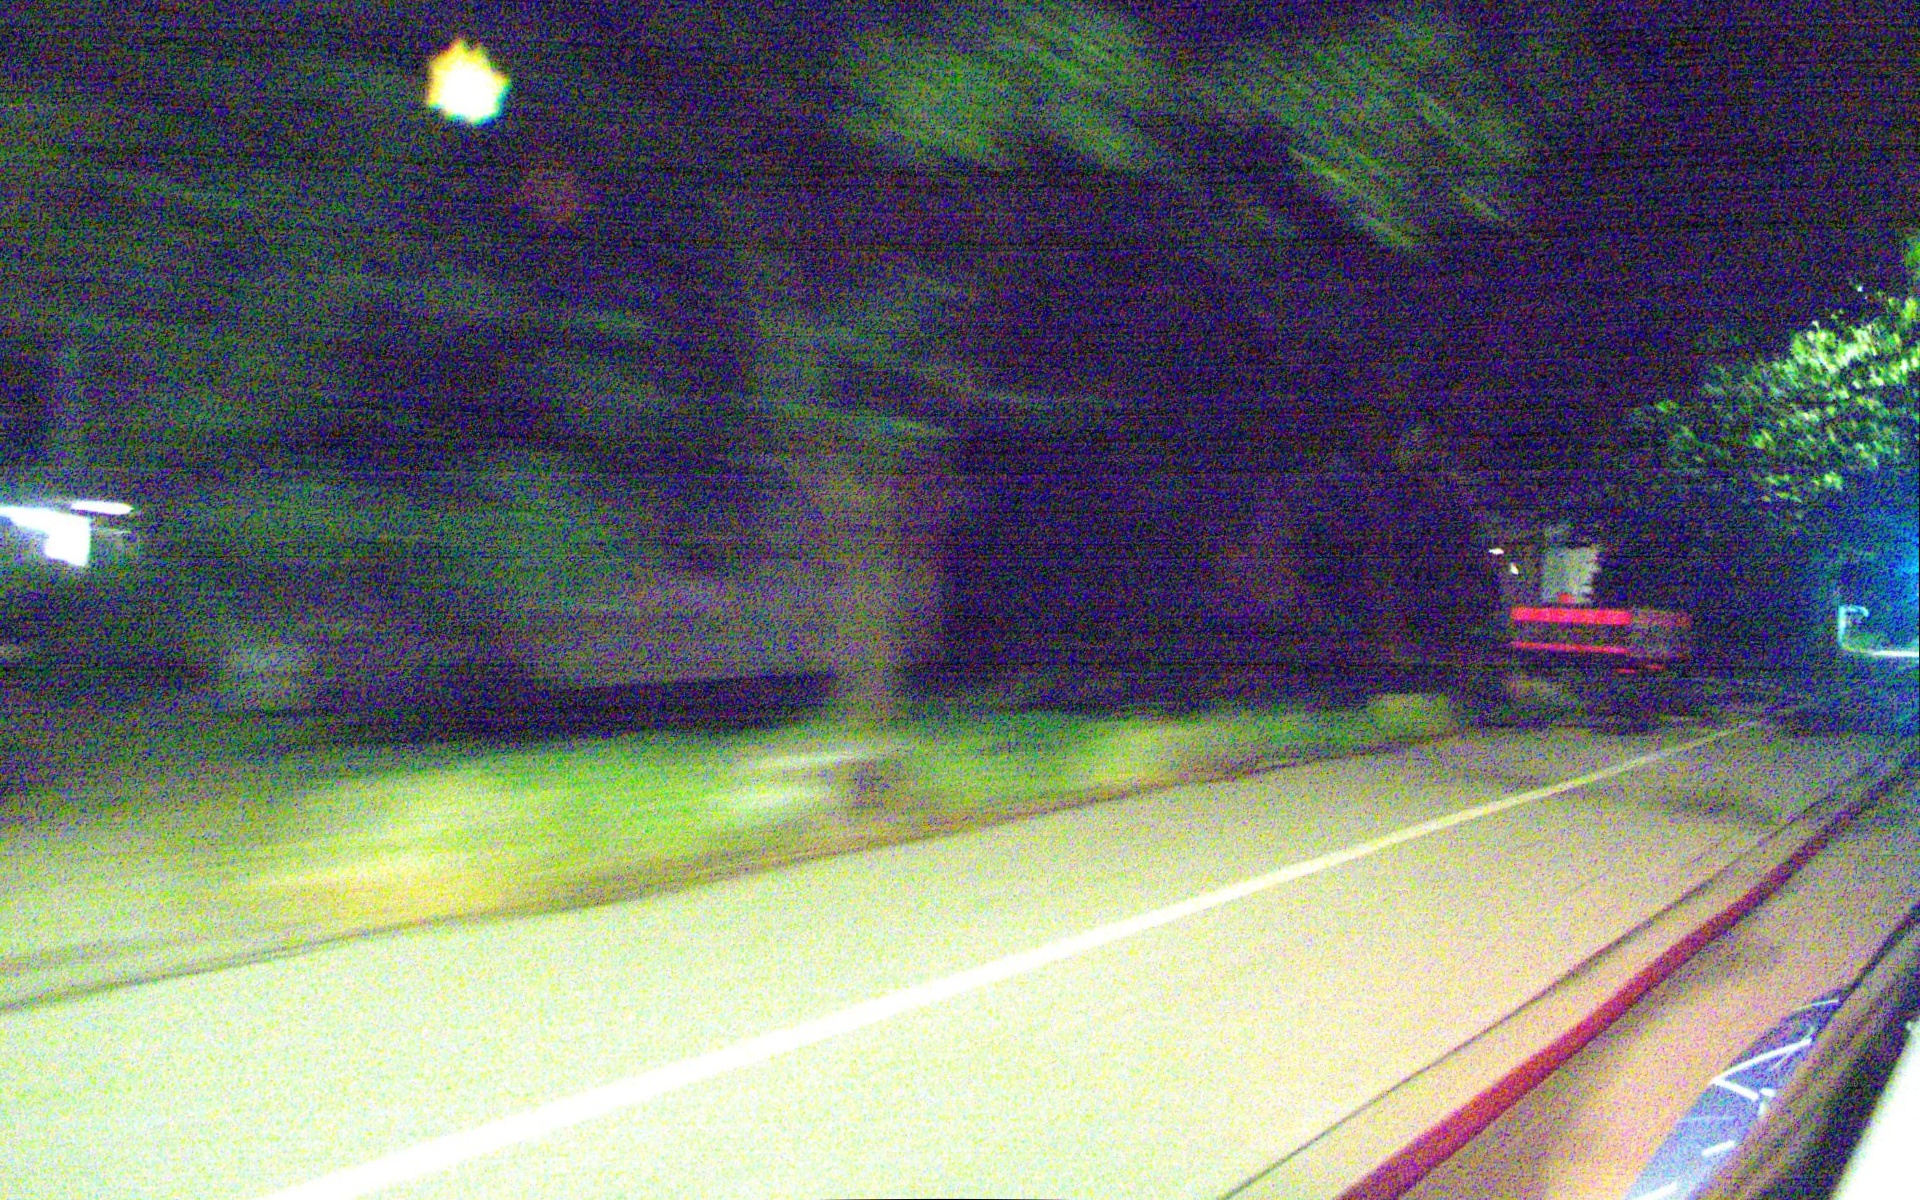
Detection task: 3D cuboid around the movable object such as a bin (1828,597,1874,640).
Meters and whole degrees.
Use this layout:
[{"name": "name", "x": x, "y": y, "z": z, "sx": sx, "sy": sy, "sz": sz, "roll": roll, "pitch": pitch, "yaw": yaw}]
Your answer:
[{"name": "movable object such as a bin", "x": 24.158, "y": 0.487, "z": 27.436, "sx": 0.876, "sy": 1.135, "sz": 0.726, "roll": 0, "pitch": 1, "yaw": -34}]

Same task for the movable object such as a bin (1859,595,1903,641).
[{"name": "movable object such as a bin", "x": 25.107, "y": 0.481, "z": 27.588, "sx": 0.706, "sy": 1.215, "sz": 0.727, "roll": 0, "pitch": 1, "yaw": -34}]
